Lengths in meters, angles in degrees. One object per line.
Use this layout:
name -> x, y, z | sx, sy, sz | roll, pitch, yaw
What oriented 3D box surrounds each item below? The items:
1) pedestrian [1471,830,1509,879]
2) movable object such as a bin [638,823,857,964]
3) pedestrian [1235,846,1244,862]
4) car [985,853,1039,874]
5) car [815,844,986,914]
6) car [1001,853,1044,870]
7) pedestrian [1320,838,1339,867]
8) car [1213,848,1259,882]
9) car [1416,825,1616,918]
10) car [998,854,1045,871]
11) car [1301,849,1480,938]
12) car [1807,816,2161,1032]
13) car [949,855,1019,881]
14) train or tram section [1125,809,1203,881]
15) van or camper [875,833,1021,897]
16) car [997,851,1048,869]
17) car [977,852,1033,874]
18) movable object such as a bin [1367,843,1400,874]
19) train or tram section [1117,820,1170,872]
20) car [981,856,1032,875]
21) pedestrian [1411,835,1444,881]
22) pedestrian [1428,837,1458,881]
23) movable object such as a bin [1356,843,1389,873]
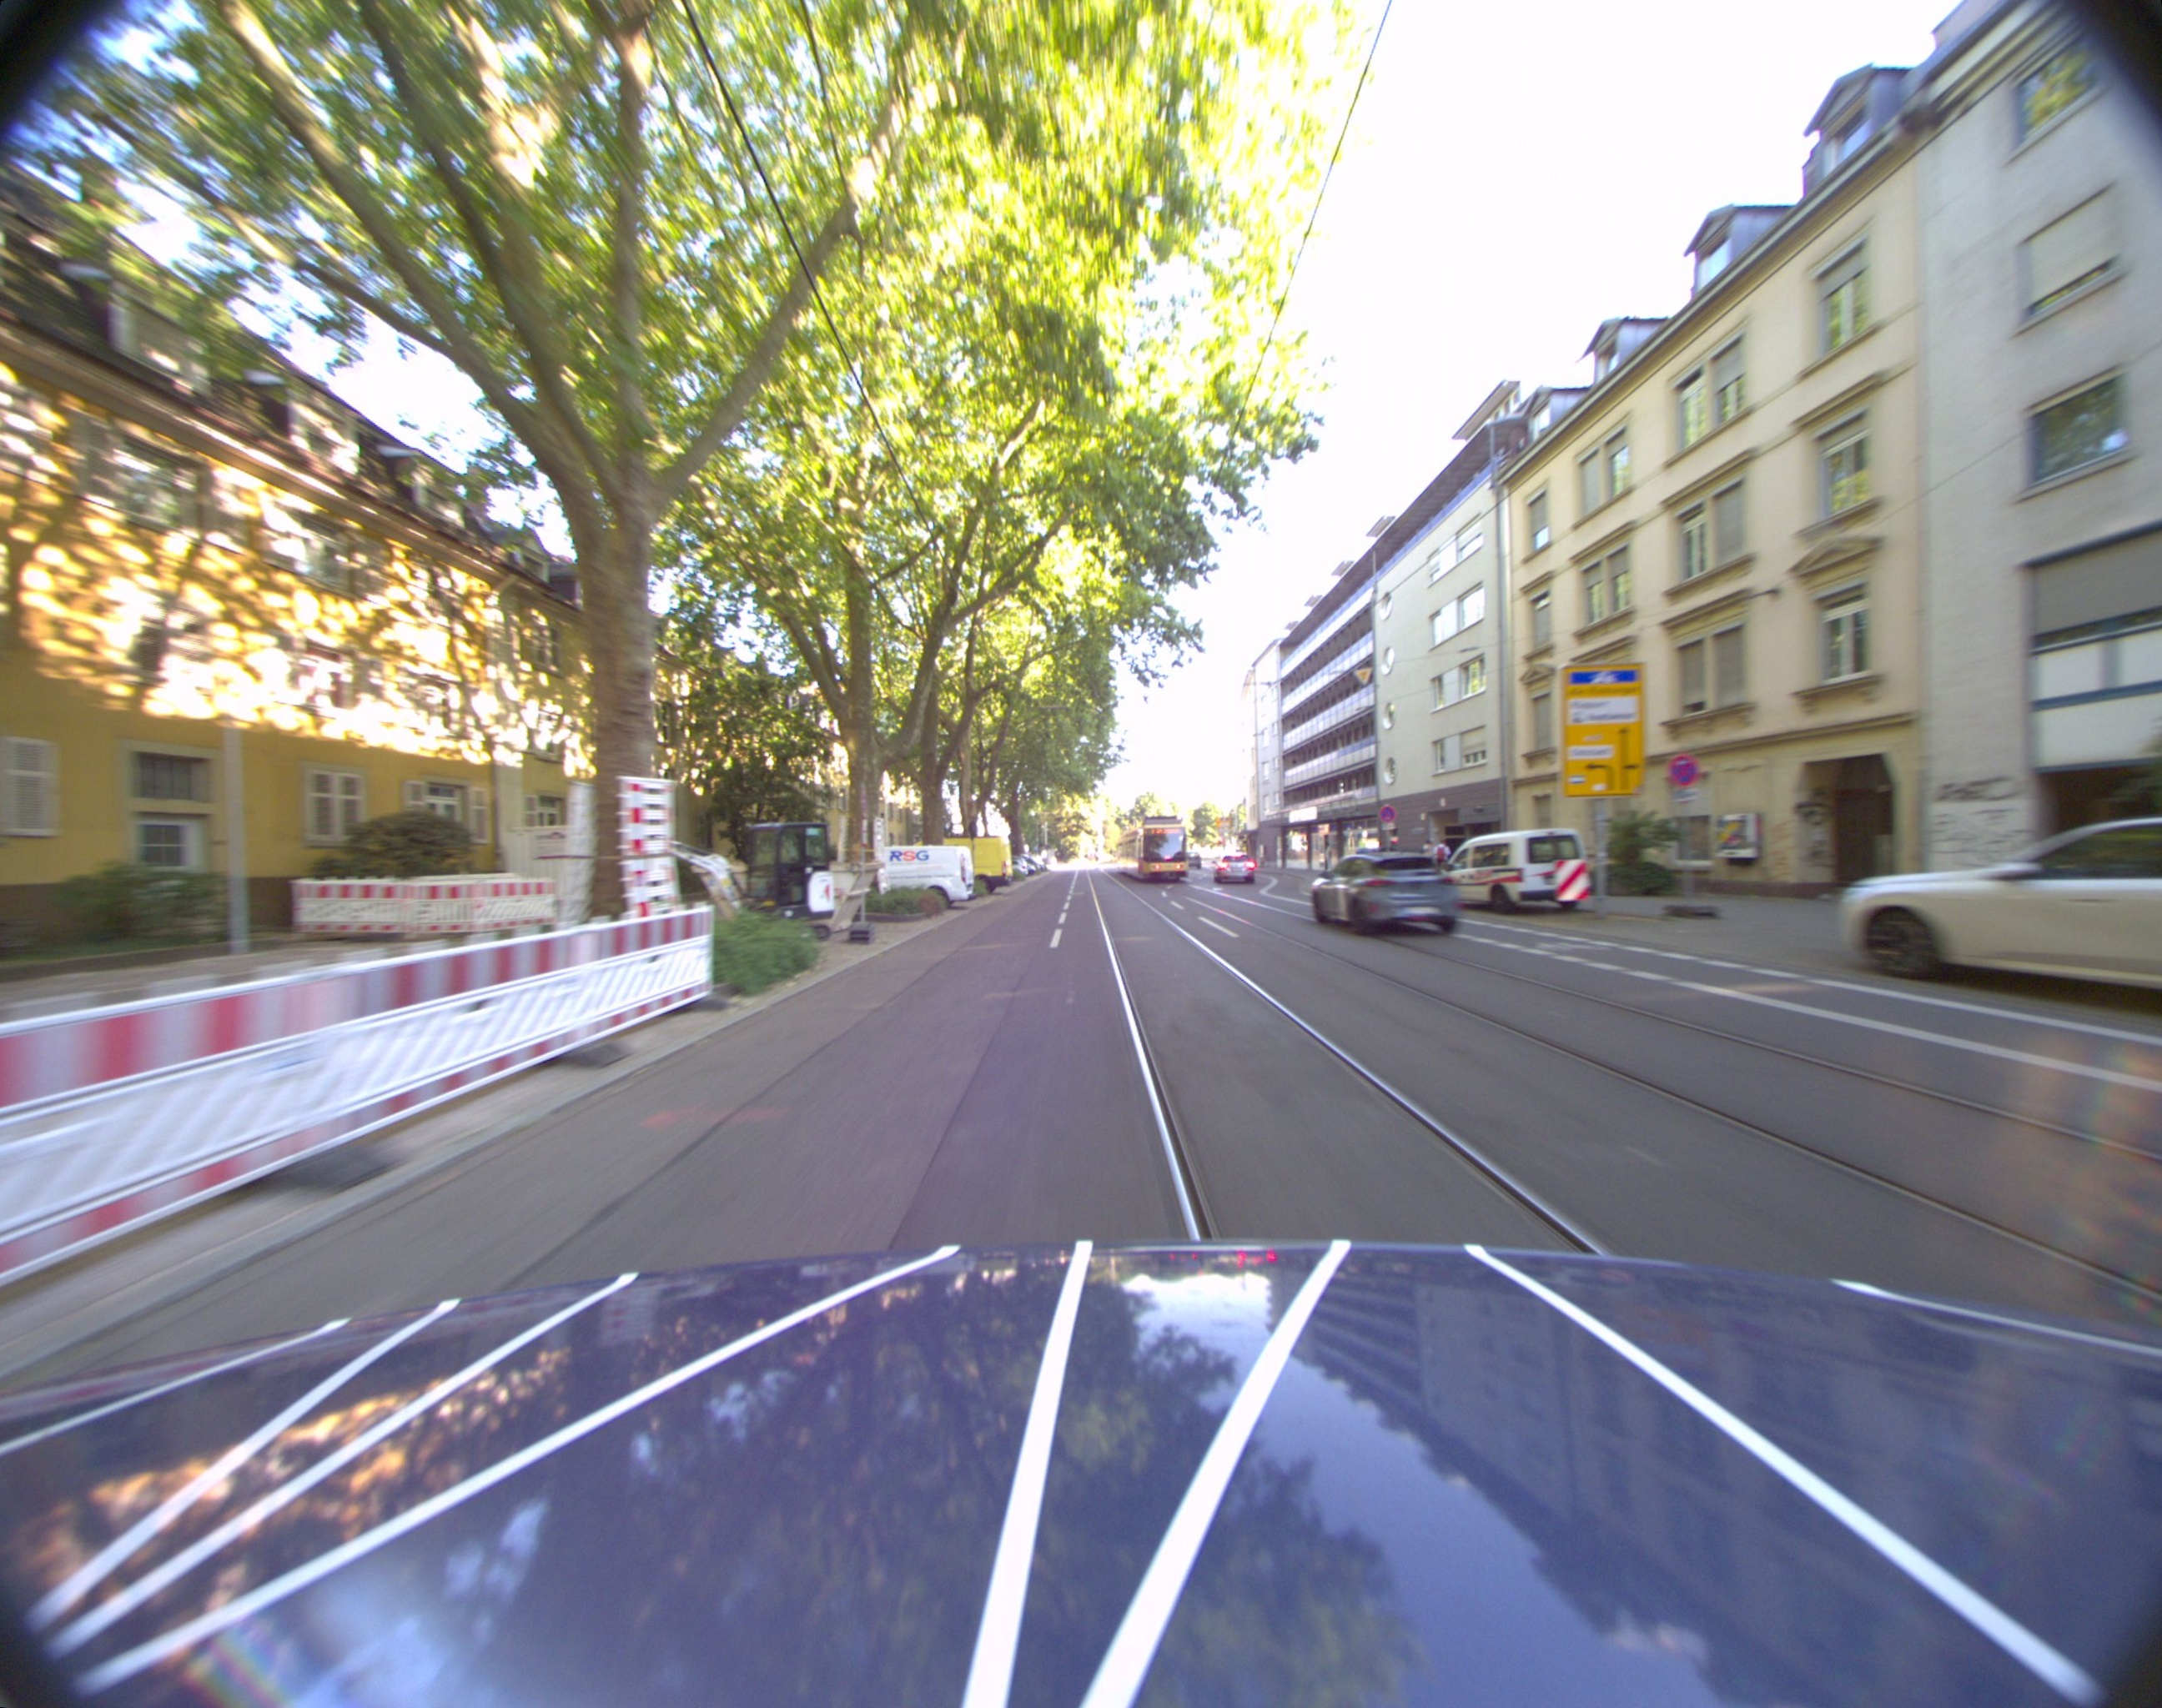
pedestrian -> 15.781, 0.014, 29.345 | 0.965, 1.803, 0.729 | -4, 1, 1
movable object such as a bin -> -5.941, 0.610, 13.851 | 1.482, 2.256, 3.283 | -1, 1, 34
pedestrian -> 16.467, 0.021, 78.843 | 0.716, 1.664, 0.905 | -1, 1, 20
car -> -5.784, 0.772, 64.246 | 4.437, 1.648, 1.907 | -1, 1, -1
car -> -5.561, 0.741, 23.918 | 4.847, 2.001, 2.063 | -1, 0, 0
car -> -5.438, 0.710, 70.808 | 3.891, 1.488, 1.741 | -1, 0, -3
pedestrian -> 15.432, -0.100, 47.257 | 0.789, 1.703, 0.820 | -5, 1, 0
car -> 7.597, 0.495, 37.586 | 1.799, 1.438, 4.717 | -1, 2, 7
car -> 9.710, 0.349, 17.442 | 1.793, 1.760, 4.469 | -3, 0, -3
car -> -5.743, 0.818, 73.580 | 4.411, 1.514, 1.818 | -1, 0, 1
car -> 5.672, 0.642, 14.502 | 1.800, 1.437, 4.052 | -1, 0, 1
car -> 9.466, 0.525, 6.401 | 1.957, 1.639, 4.880 | -3, 1, -1
car -> -5.969, 0.856, 47.008 | 4.087, 1.541, 1.830 | -1, 1, 0
train or tram section -> 4.484, -0.478, 44.398 | 2.916, 3.466, 14.196 | -2, 0, 0
van or camper -> -5.789, 0.450, 33.602 | 5.940, 2.614, 2.270 | -1, 2, 2
car -> -6.036, 0.620, 78.668 | 5.126, 1.845, 1.914 | 0, 1, 0
car -> -6.169, 0.744, 61.915 | 4.318, 1.721, 1.841 | 0, 0, 4
movable object such as a bin -> 14.913, 0.211, 37.473 | 1.059, 1.442, 1.210 | -2, 1, -4
train or tram section -> 4.527, -0.609, 58.171 | 2.916, 3.466, 13.368 | -2, 0, 0
car -> -5.748, 0.859, 58.753 | 3.660, 1.416, 1.865 | 1, 0, 1
pedestrian -> 13.886, 0.144, 30.469 | 0.866, 1.774, 0.736 | -3, 1, -1
pedestrian -> 13.854, 0.182, 29.090 | 0.729, 1.623, 0.687 | -4, 1, -1
movable object such as a bin -> 14.814, 0.206, 38.703 | 1.142, 1.442, 1.213 | -2, 1, -4
